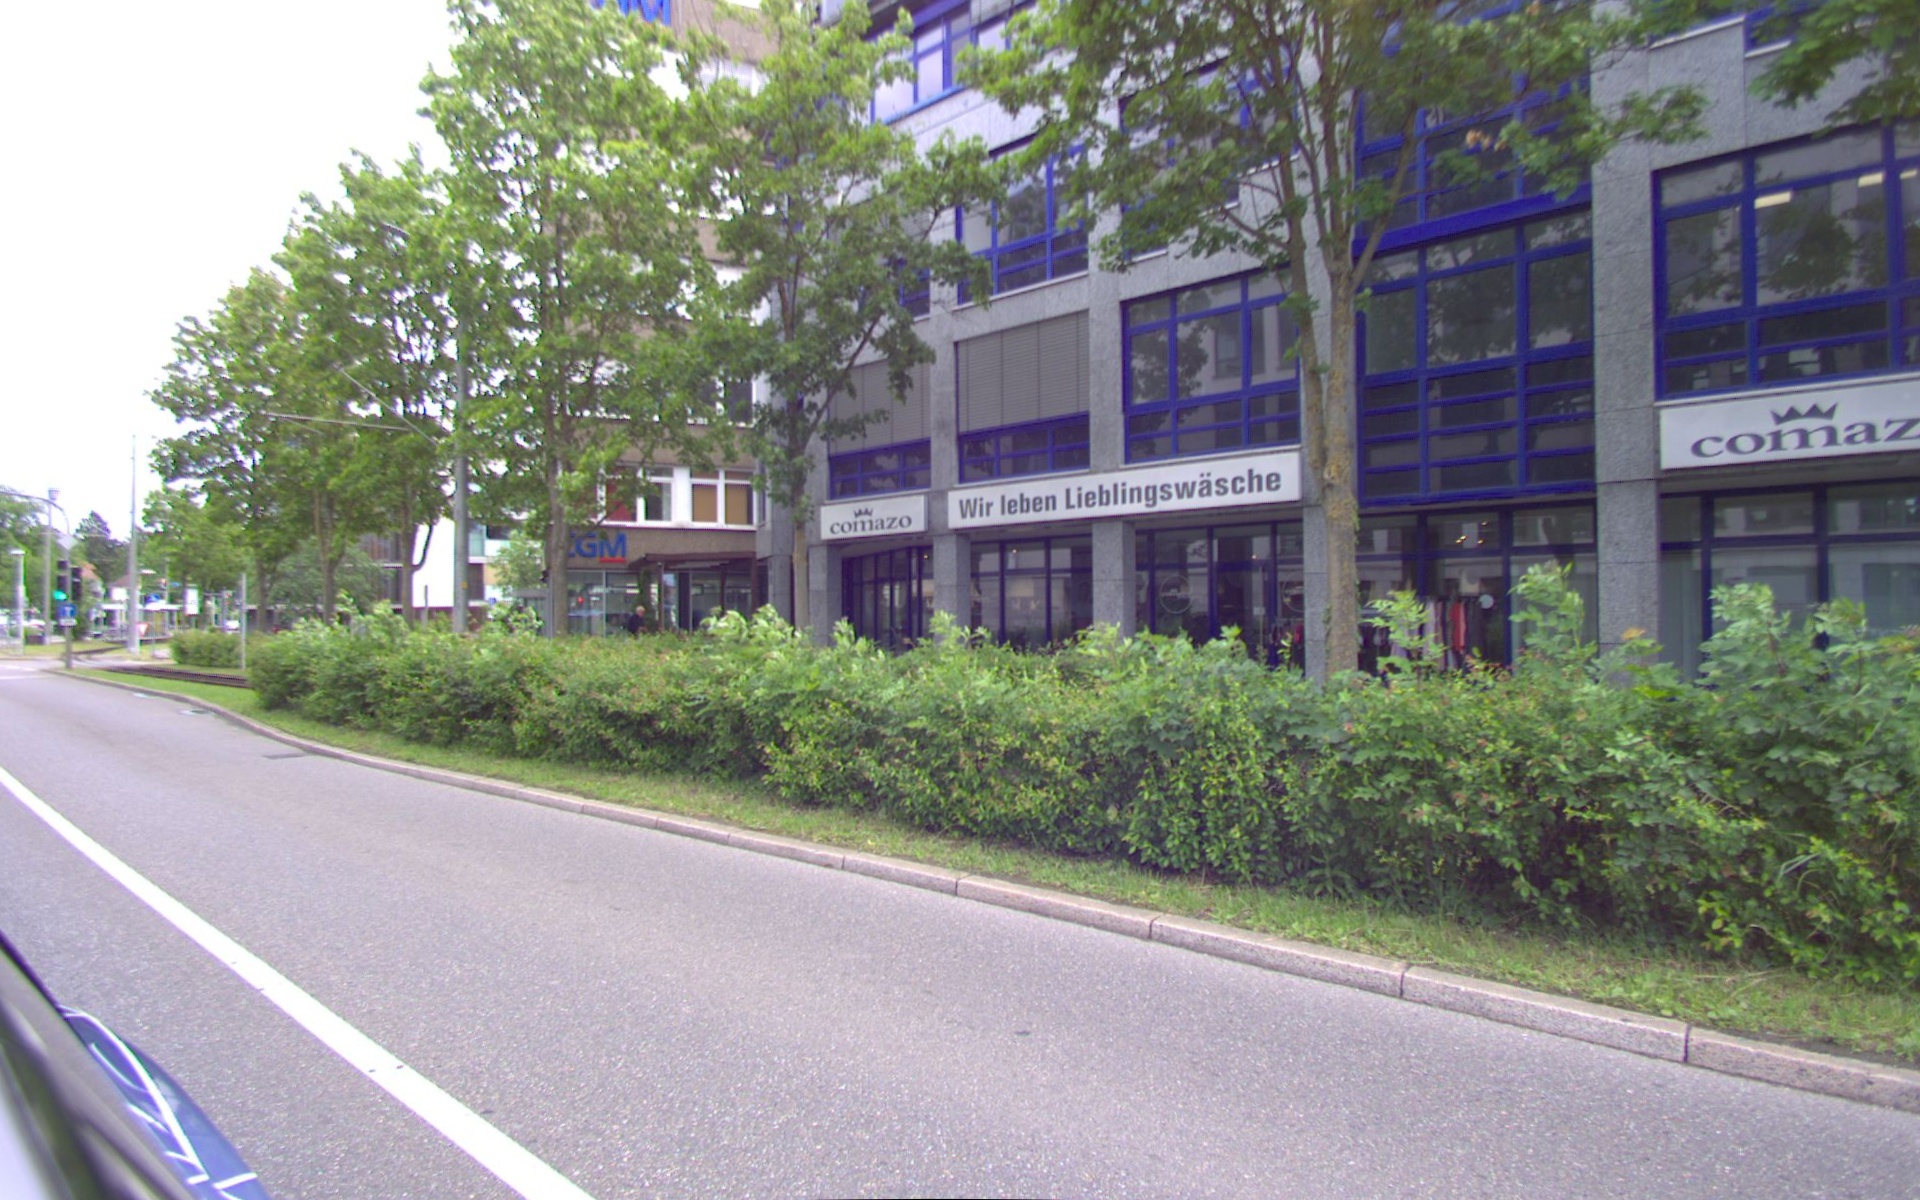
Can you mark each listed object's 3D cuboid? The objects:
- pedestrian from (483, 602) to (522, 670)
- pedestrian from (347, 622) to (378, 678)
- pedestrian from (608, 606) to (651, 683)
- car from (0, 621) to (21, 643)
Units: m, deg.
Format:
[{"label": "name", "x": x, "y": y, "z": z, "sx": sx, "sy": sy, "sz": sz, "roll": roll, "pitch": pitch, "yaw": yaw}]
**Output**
[{"label": "pedestrian", "x": -13.361, "y": 1.044, "z": 29.539, "sx": 0.731, "sy": 1.938, "sz": 0.805, "roll": -1, "pitch": 0, "yaw": 40}, {"label": "pedestrian", "x": -19.811, "y": 1.645, "z": 33.551, "sx": 0.730, "sy": 1.819, "sz": 0.672, "roll": -1, "pitch": 0, "yaw": 37}, {"label": "pedestrian", "x": -8.347, "y": 1.113, "z": 25.569, "sx": 0.731, "sy": 1.908, "sz": 0.766, "roll": -1, "pitch": 0, "yaw": 40}, {"label": "car", "x": -89.938, "y": 2.994, "z": 94.708, "sx": 1.965, "sy": 2.029, "sz": 4.013, "roll": 0, "pitch": 0, "yaw": -25}]
